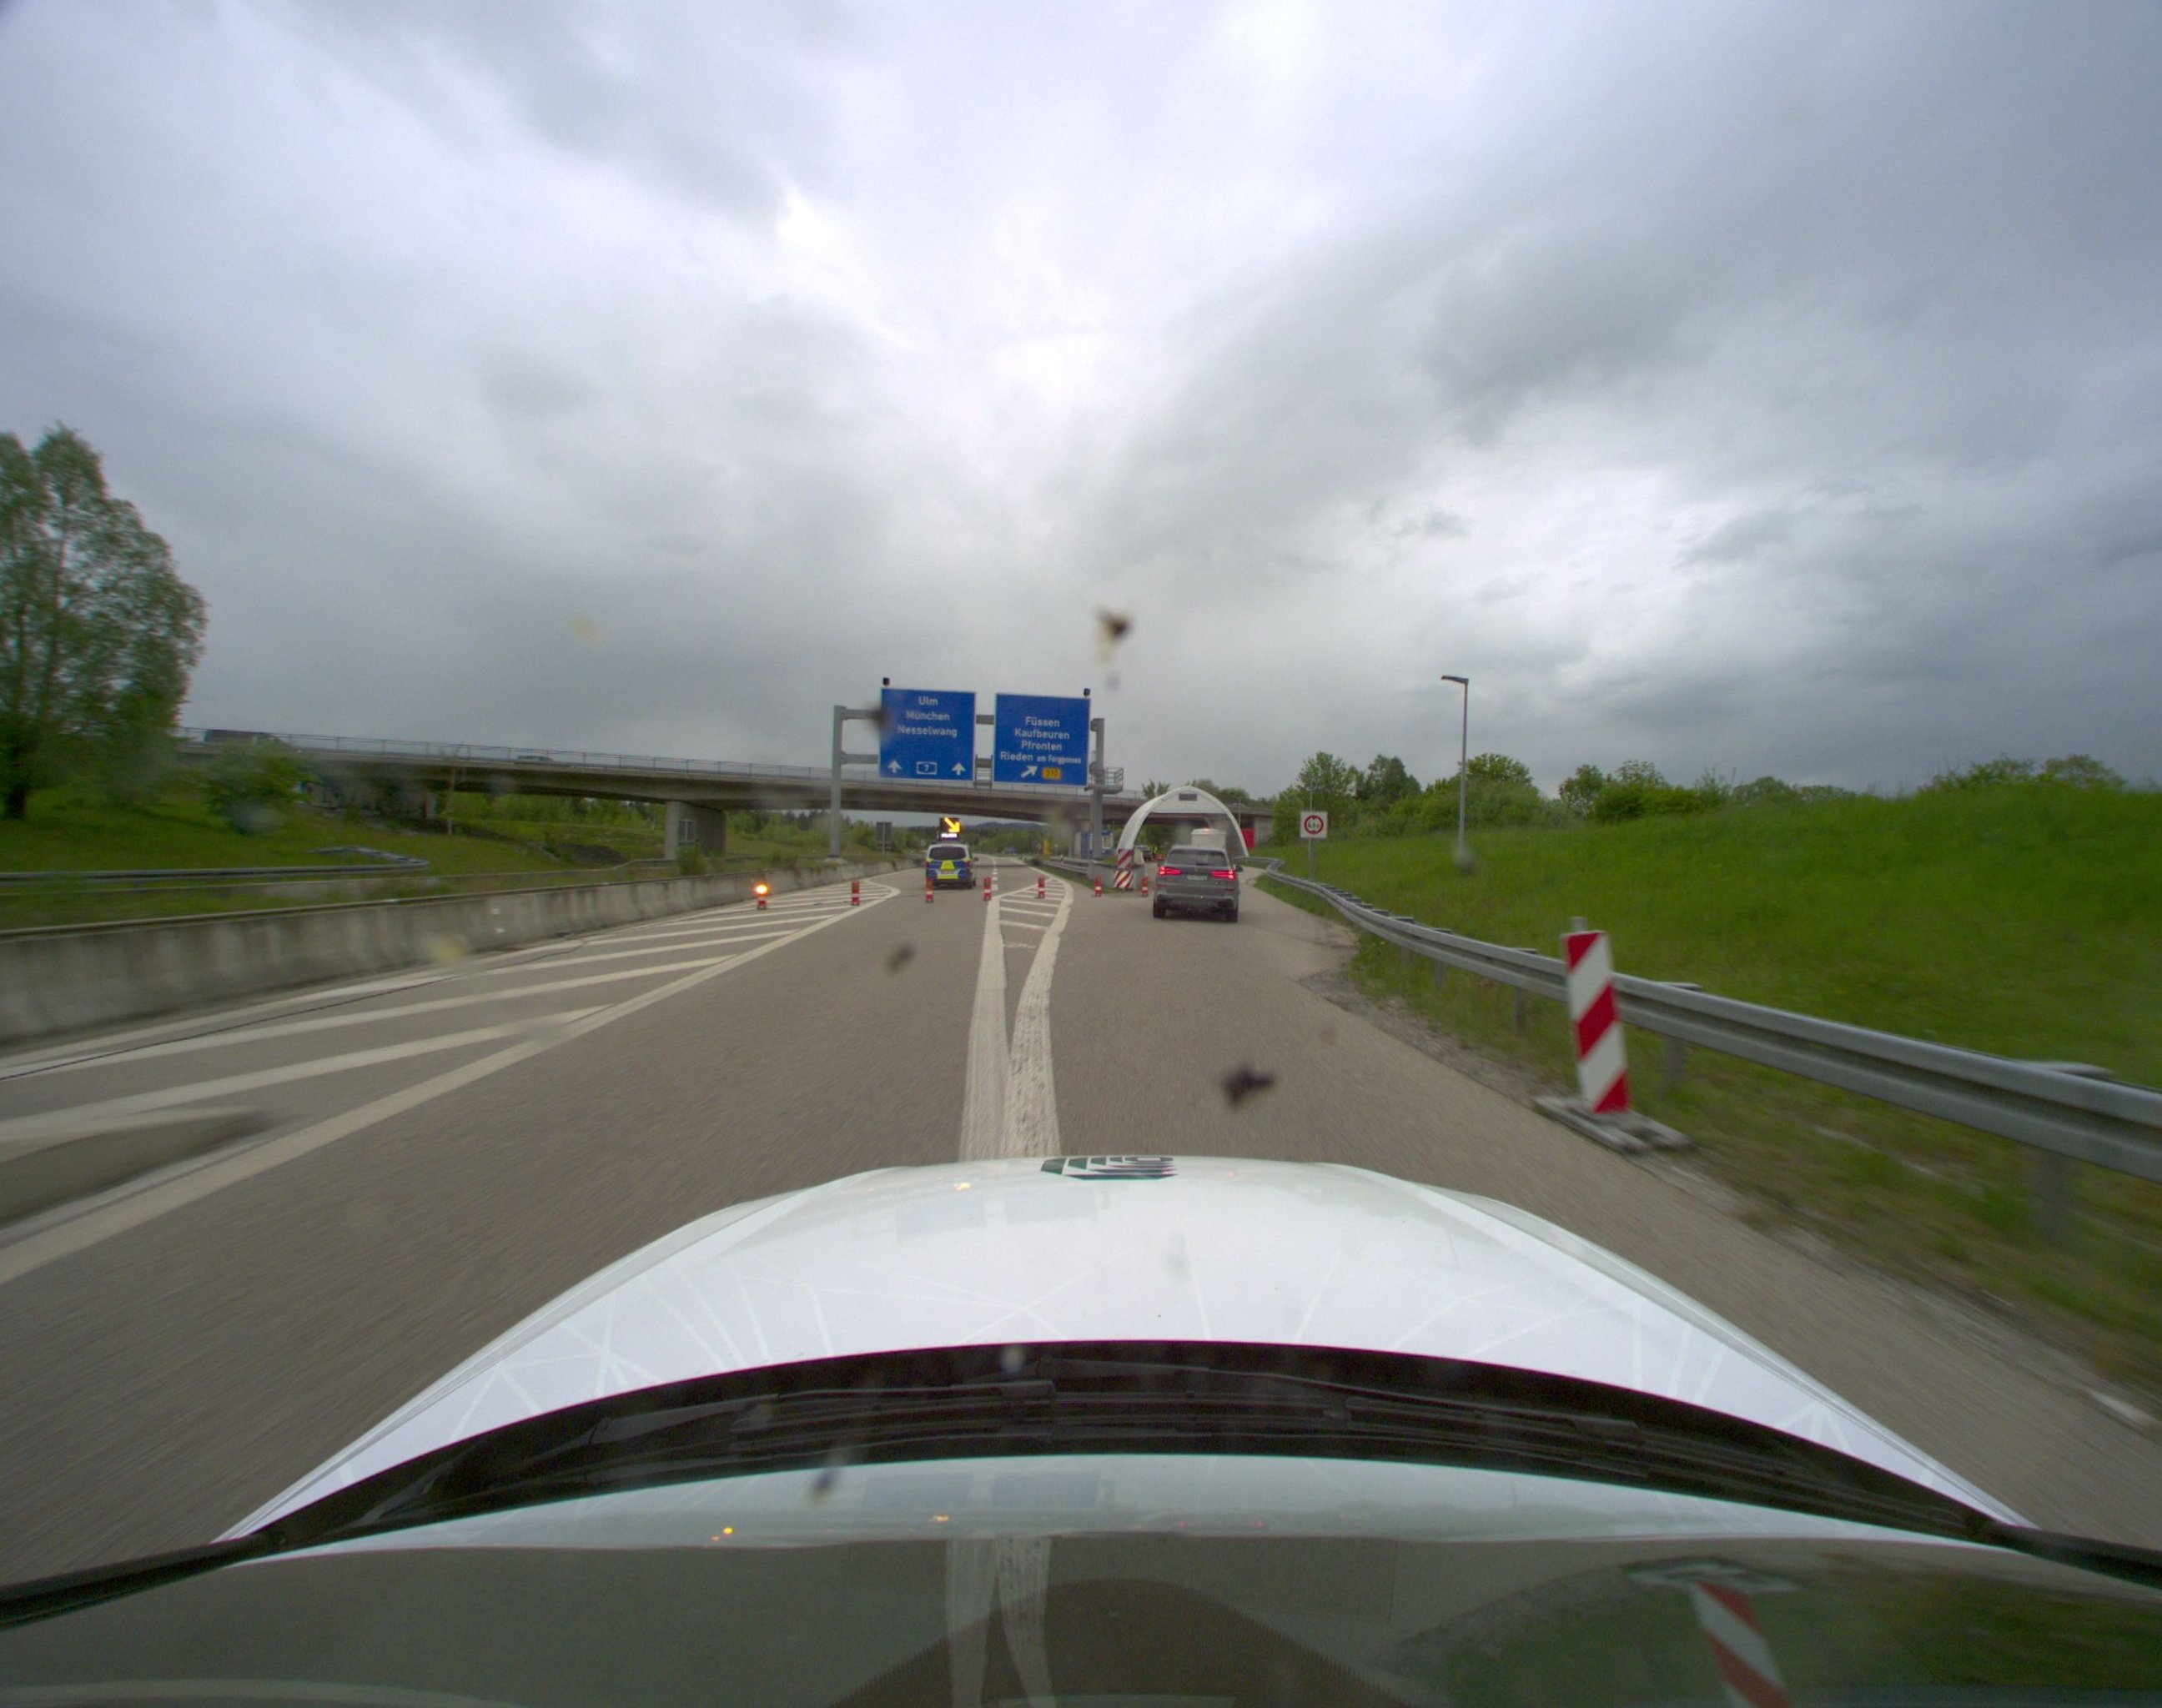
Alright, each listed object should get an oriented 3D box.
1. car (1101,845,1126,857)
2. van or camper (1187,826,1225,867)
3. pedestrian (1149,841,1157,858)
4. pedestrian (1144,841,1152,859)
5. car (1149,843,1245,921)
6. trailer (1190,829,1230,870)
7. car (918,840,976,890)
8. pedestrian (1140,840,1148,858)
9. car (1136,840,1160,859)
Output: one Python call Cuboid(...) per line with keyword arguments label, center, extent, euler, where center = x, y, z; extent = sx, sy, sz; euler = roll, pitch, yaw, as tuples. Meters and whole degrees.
Cuboid(label="car", center=(3.900, -0.393, 97.886), extent=(1.523, 1.442, 3.286), euler=(-1, 0, -27))
Cuboid(label="van or camper", center=(8.854, -0.500, 58.134), extent=(2.147, 2.763, 5.877), euler=(0, 0, 4))
Cuboid(label="pedestrian", center=(7.580, -0.476, 85.735), extent=(0.646, 1.775, 0.605), euler=(-1, 0, -4))
Cuboid(label="pedestrian", center=(6.955, -0.423, 84.947), extent=(0.718, 1.775, 0.689), euler=(-1, 0, -2))
Cuboid(label="car", center=(2.942, 0.613, 20.011), extent=(1.980, 1.719, 4.014), euler=(0, 0, 13))
Cuboid(label="trailer", center=(8.100, -0.230, 51.790), extent=(2.267, 2.430, 6.830), euler=(0, 0, 7))
Cuboid(label="car", center=(-5.697, 0.401, 35.138), extent=(2.284, 2.013, 5.037), euler=(0, 1, -7))
Cuboid(label="pedestrian", center=(6.633, -0.524, 86.073), extent=(0.718, 1.945, 0.689), euler=(-1, 0, -2))
Cuboid(label="car", center=(6.759, -0.455, 82.397), extent=(1.988, 1.772, 3.762), euler=(-1, 0, -2))
